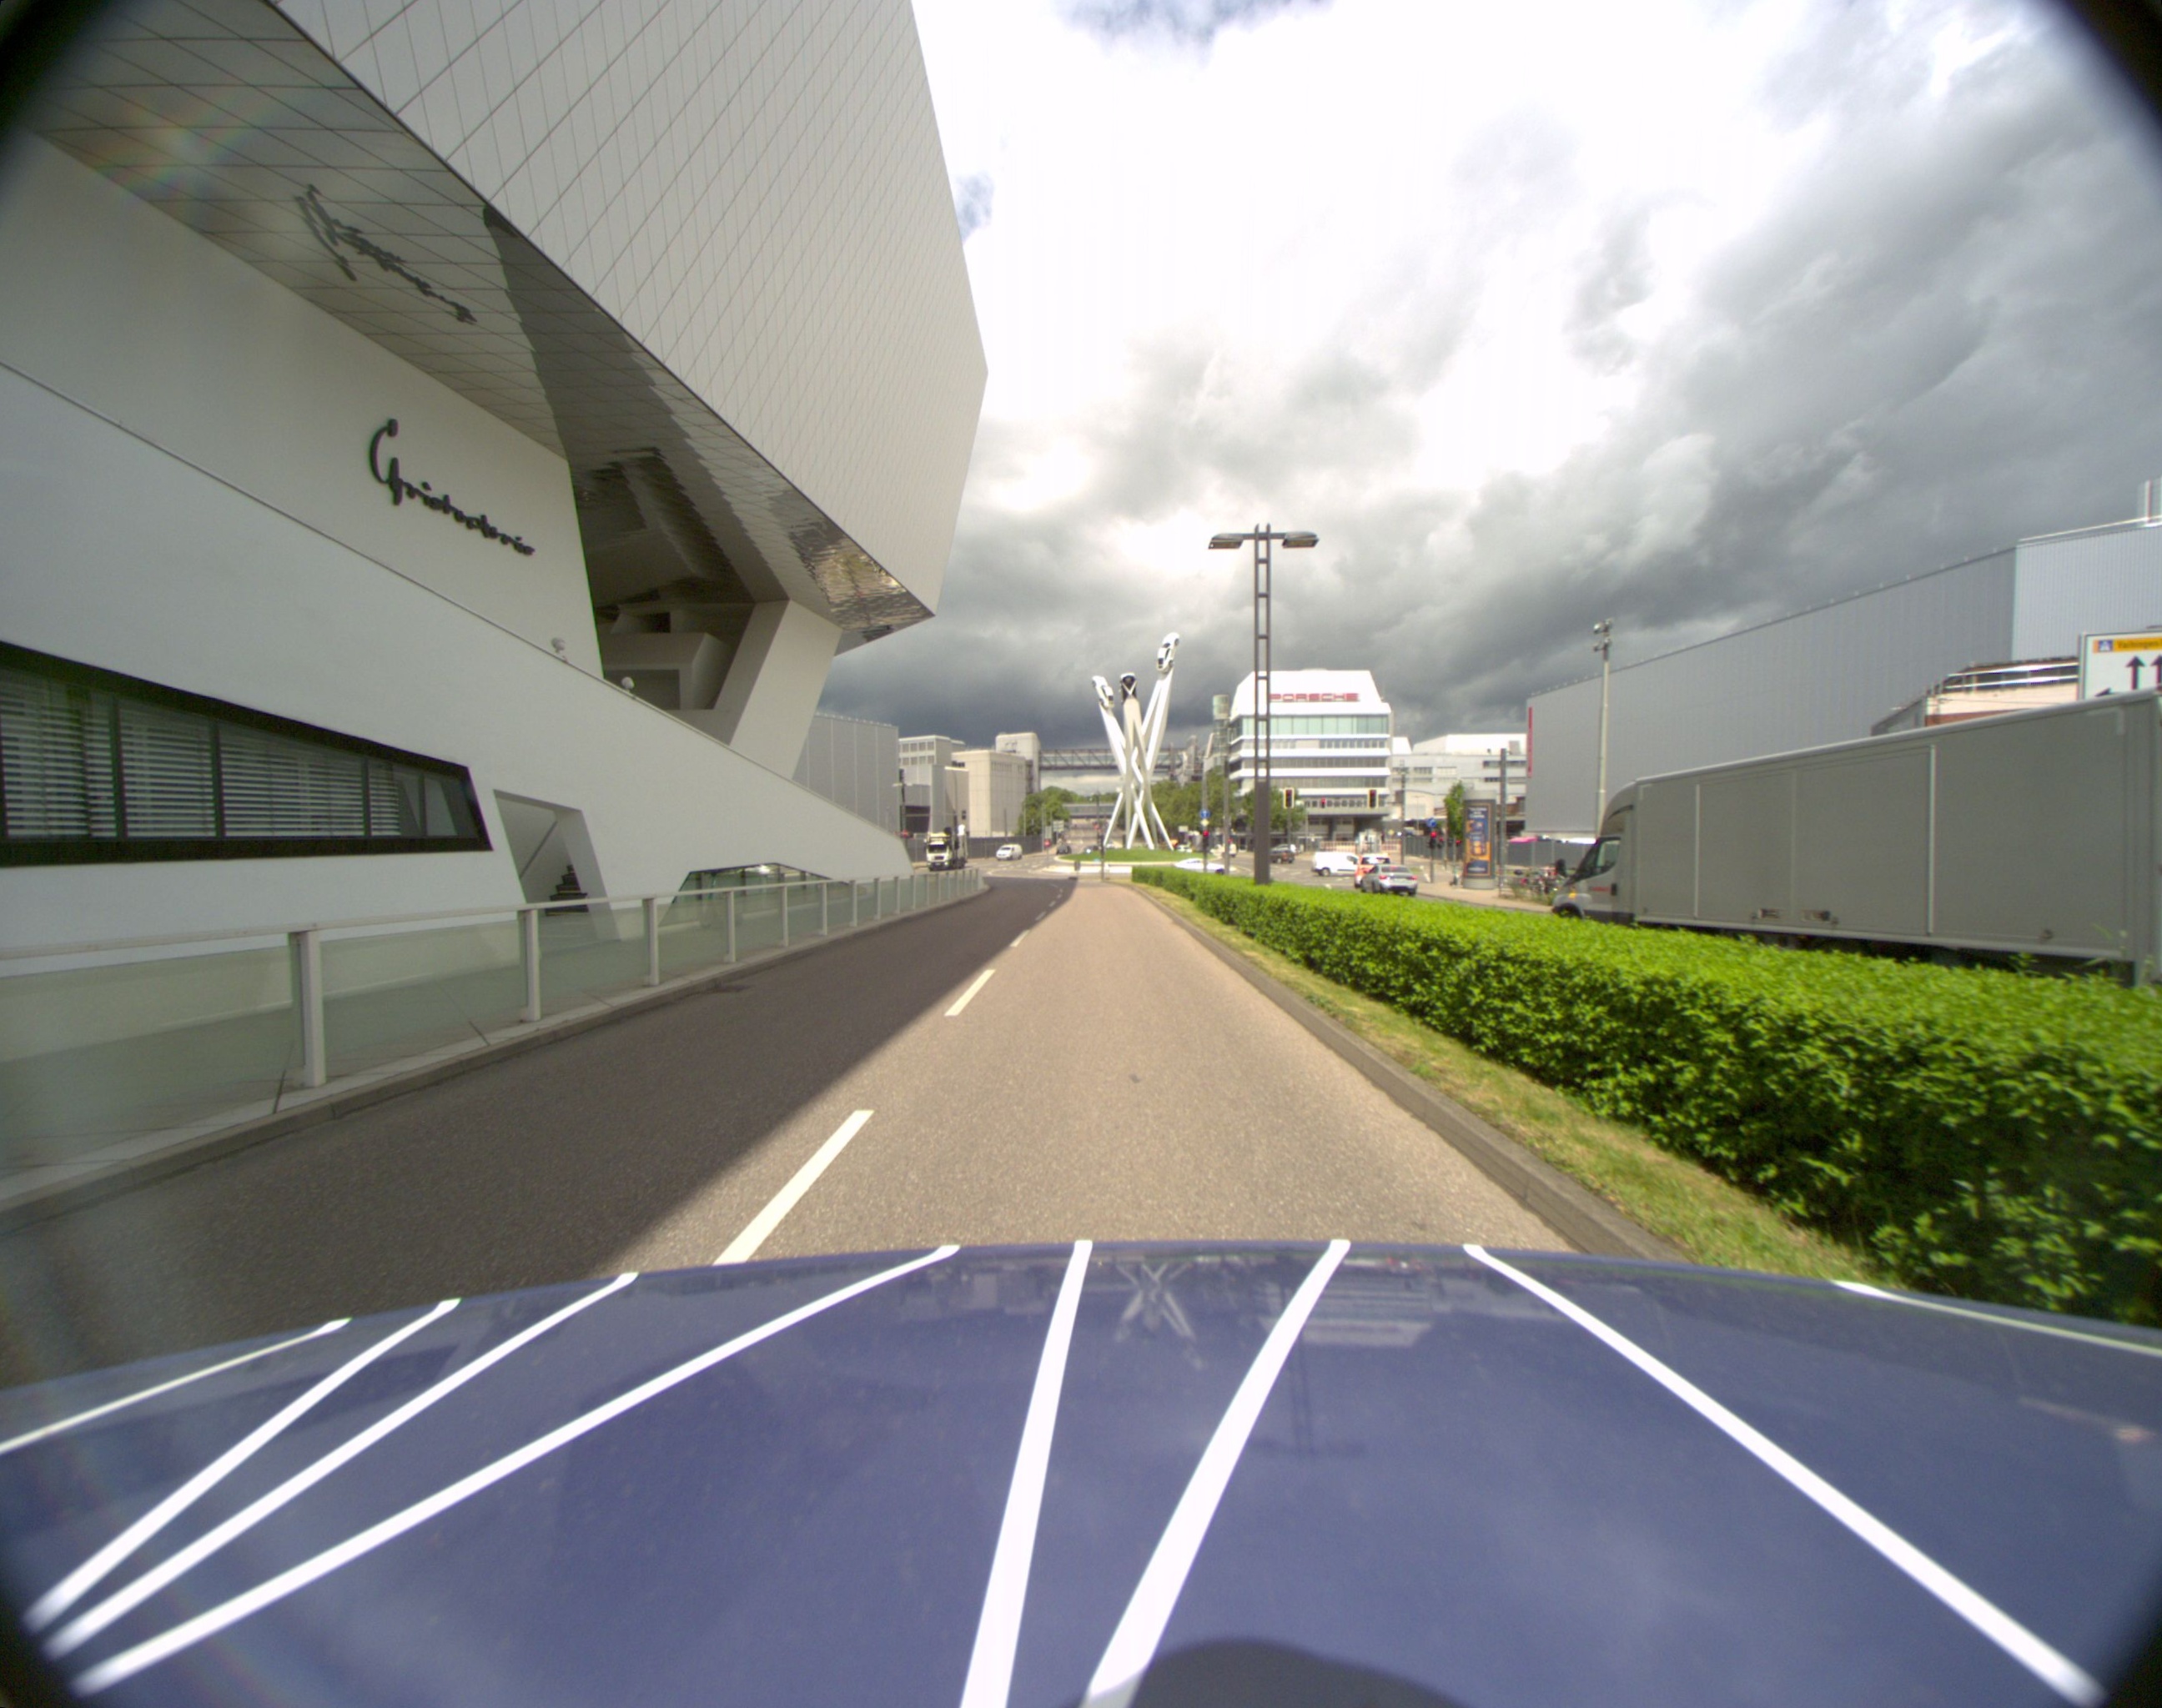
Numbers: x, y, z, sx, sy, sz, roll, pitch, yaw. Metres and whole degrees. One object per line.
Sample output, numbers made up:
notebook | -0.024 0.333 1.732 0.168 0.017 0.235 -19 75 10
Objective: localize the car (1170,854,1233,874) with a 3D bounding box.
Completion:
car | 9.479 0.795 59.995 4.778 1.477 2.051 0 1 7

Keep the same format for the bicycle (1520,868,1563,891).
bicycle | 20.329 1.119 33.529 1.952 0.983 0.620 0 0 -23

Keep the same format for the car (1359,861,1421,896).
car | 14.421 1.088 35.689 1.799 1.414 4.495 1 1 11

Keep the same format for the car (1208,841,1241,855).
car | 19.550 -0.820 103.982 2.003 1.819 4.390 -1 1 -32

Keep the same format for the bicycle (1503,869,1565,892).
bicycle | 26.690 1.537 44.843 3.074 1.259 1.165 0 1 26

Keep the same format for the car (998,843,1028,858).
car | -9.135 -0.485 102.109 2.160 1.899 5.311 0 1 17

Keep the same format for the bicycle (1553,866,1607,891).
bicycle | 20.677 1.000 31.469 1.950 0.983 0.621 0 0 -8

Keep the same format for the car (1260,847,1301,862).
car | 22.794 0.014 86.941 4.184 1.686 1.958 0 1 44

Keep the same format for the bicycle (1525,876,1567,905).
bicycle | 16.802 1.302 27.475 0.520 0.983 1.951 0 0 7

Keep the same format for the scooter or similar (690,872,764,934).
scooter or similar | -7.843 1.059 16.950 0.708 1.236 1.952 -1 1 0

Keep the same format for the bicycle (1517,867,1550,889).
bicycle | 21.634 1.146 36.337 0.520 0.983 1.950 0 0 4

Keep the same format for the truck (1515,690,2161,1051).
truck | 10.067 0.235 10.619 2.862 2.840 9.380 0 -1 2

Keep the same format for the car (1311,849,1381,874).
car | 20.555 0.573 59.052 4.861 1.812 2.001 0 1 8

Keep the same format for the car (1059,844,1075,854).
car | -2.280 -0.768 123.377 1.830 1.555 4.003 0 1 10

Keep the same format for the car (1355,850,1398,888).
car | 16.426 0.790 42.444 1.996 1.946 4.634 0 1 18

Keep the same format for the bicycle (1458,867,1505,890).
bicycle | 20.715 1.258 39.294 2.041 1.161 0.621 0 1 10

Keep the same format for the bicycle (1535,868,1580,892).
bicycle | 20.596 1.108 32.847 1.952 0.983 0.620 0 0 -23

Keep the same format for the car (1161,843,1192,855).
car | 13.349 -0.680 106.499 2.003 1.570 4.233 -1 1 -34

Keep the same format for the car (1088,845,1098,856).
car | 1.792 -0.514 113.750 1.586 1.630 3.803 0 0 1

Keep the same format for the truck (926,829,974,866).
truck | -13.762 -0.706 80.661 2.843 3.669 10.754 0 1 2
